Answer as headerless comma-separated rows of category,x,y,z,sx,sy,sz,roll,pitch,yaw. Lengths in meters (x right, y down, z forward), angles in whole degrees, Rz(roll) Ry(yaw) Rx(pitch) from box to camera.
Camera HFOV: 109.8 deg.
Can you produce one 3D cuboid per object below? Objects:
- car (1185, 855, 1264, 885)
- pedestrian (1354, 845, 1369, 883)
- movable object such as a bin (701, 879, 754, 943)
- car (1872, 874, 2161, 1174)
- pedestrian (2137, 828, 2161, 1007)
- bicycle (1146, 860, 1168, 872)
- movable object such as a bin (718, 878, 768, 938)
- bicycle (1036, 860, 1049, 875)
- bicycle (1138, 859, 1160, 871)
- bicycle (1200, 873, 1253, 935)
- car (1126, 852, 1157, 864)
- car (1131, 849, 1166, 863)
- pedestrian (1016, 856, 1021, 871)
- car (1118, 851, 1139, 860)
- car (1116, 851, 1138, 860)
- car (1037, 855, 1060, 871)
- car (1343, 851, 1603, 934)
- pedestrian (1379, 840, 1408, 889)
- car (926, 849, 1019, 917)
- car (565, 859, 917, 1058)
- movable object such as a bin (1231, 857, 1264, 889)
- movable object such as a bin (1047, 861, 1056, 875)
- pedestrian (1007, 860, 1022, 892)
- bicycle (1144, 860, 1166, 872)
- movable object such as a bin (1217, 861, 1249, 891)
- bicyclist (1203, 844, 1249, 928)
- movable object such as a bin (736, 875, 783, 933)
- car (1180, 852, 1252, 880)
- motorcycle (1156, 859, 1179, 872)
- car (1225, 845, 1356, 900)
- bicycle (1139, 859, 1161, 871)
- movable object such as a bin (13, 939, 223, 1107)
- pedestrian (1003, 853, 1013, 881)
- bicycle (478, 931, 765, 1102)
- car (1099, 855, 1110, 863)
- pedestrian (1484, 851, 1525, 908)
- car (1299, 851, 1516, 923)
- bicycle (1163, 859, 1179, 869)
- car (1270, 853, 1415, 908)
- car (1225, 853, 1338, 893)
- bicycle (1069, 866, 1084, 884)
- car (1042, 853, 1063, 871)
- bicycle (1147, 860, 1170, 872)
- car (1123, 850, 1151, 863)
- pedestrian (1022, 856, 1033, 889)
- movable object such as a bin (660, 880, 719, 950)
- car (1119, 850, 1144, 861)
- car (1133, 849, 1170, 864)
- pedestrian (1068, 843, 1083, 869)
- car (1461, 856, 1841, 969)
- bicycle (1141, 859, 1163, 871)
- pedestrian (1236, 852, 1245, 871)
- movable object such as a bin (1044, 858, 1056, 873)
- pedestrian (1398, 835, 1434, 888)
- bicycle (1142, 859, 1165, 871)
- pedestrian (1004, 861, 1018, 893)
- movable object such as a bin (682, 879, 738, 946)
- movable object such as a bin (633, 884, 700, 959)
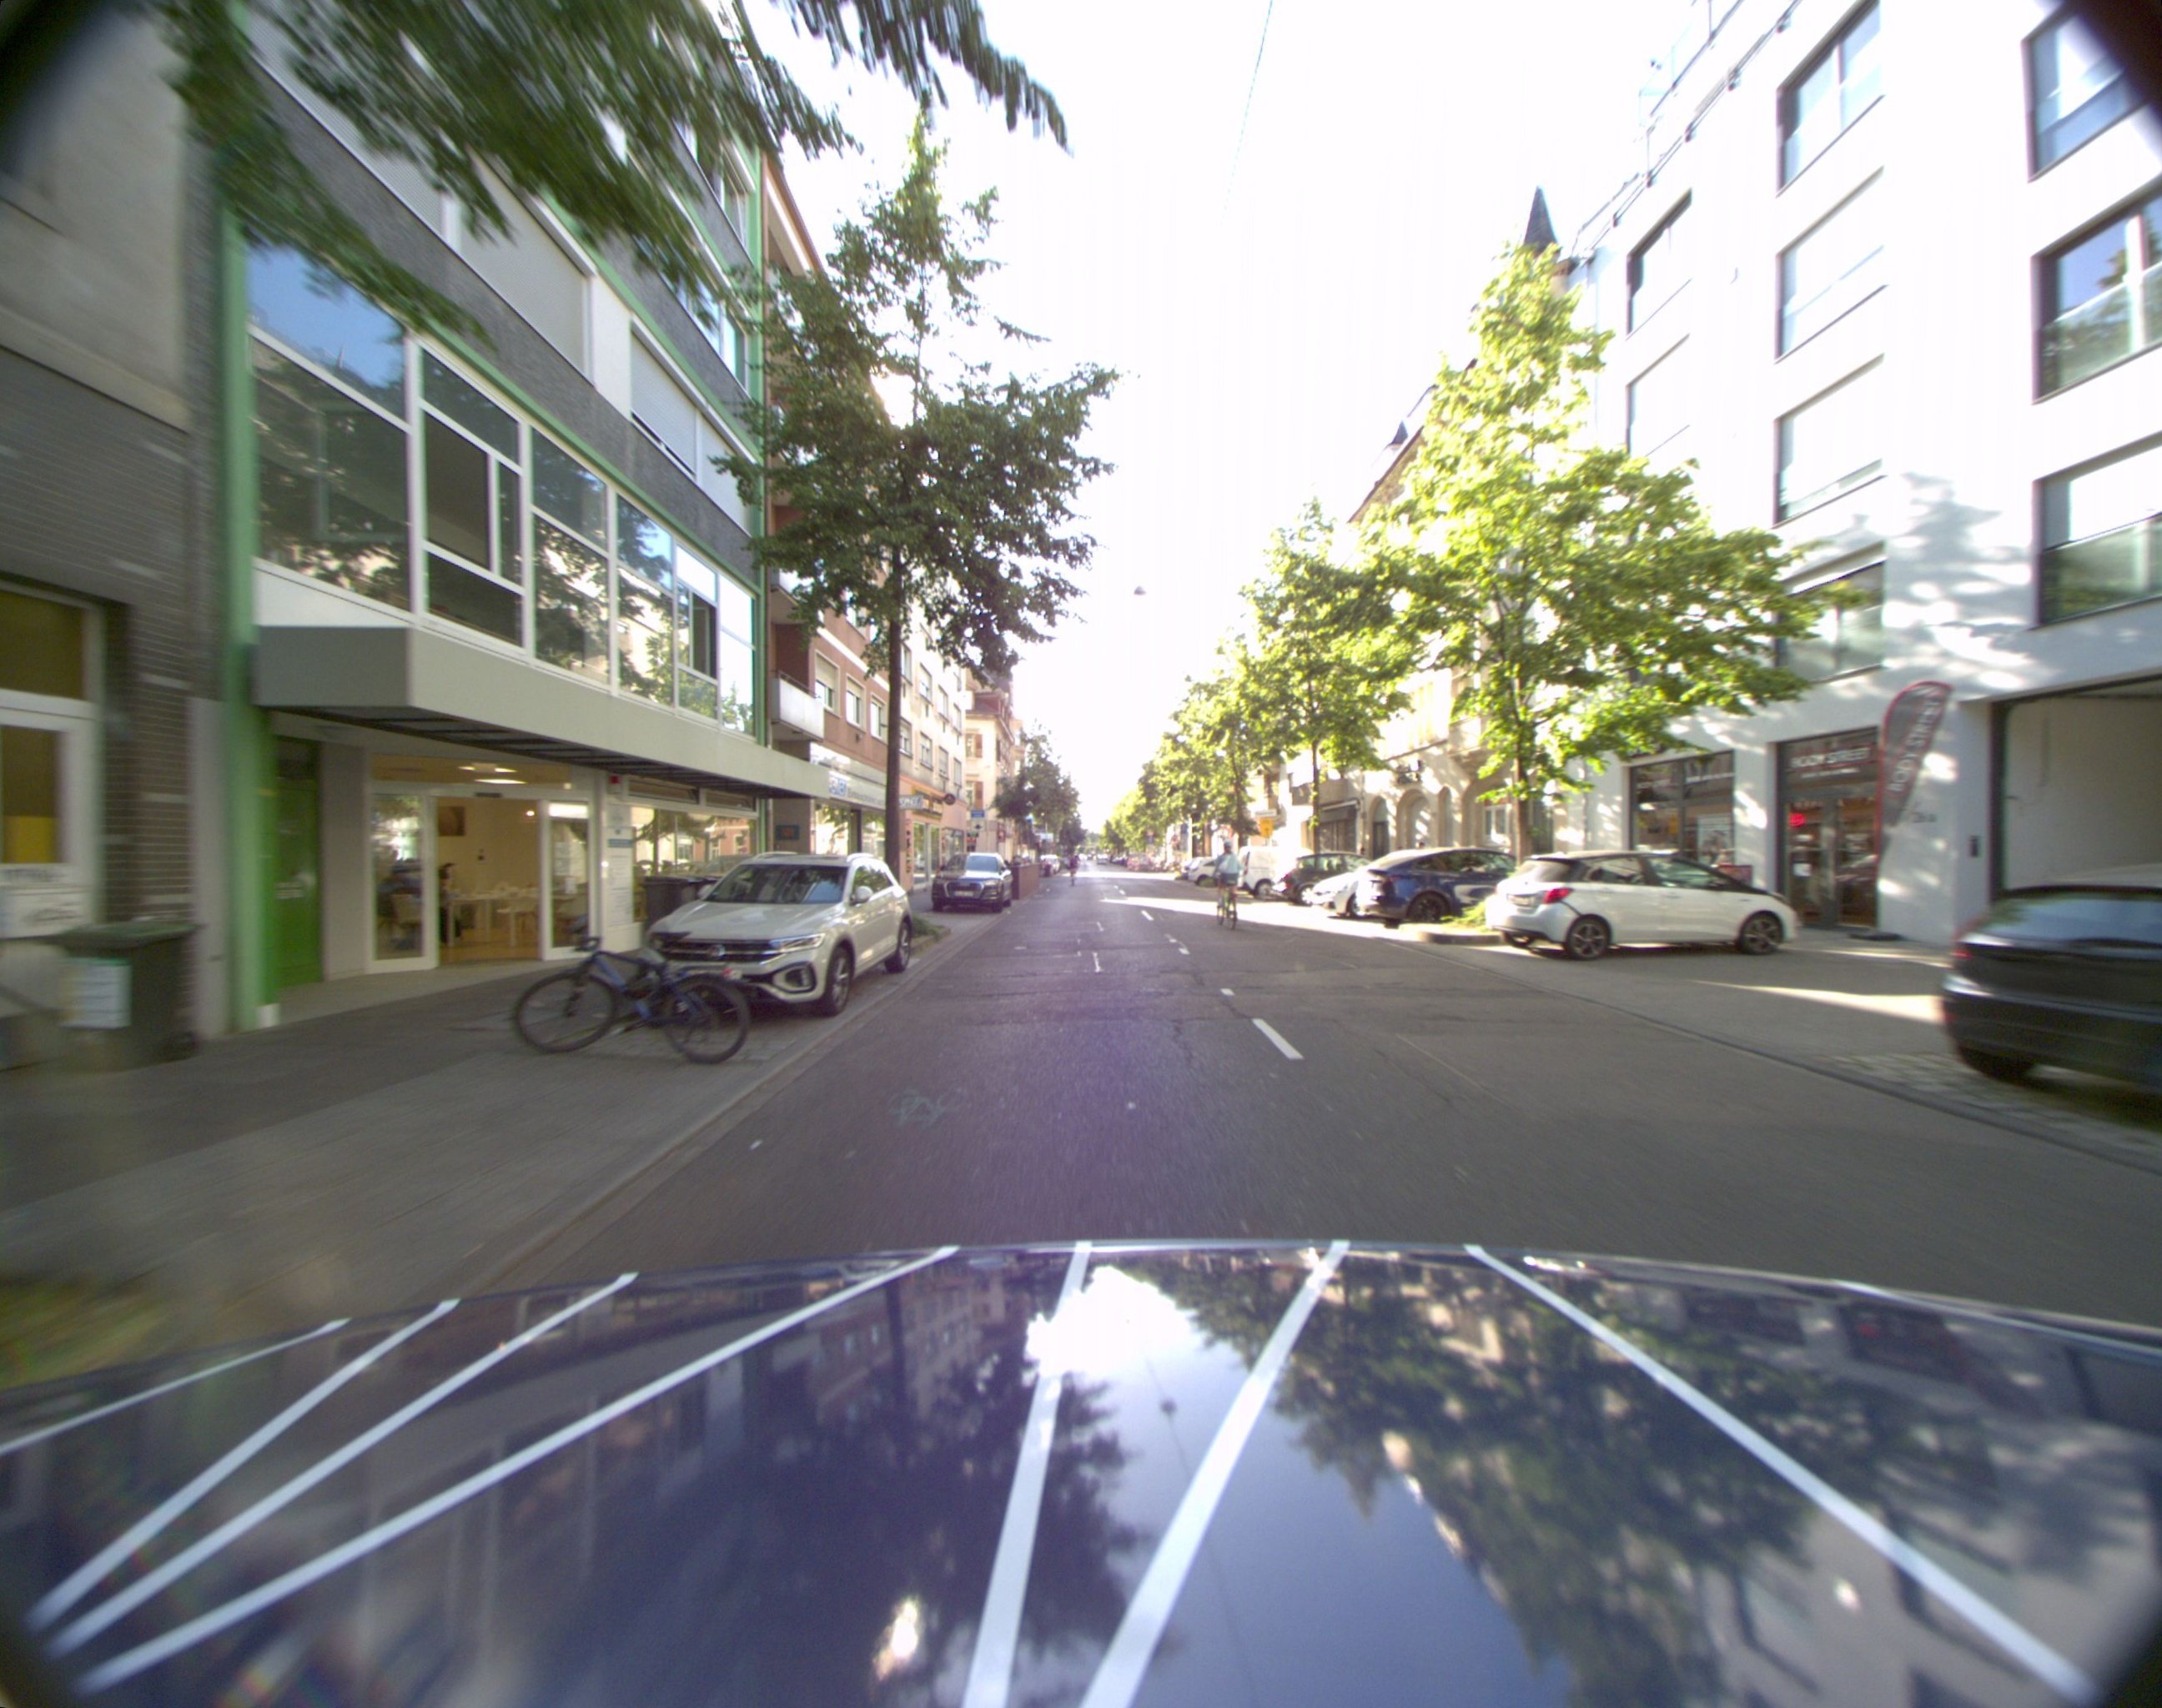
car,7.540,0.815,40.134,3.788,1.455,1.710,-1,0,-2
pedestrian,12.346,0.420,33.465,0.434,1.662,0.639,-1,1,3
movable object such as a bin,-6.097,0.969,13.121,0.615,1.058,0.589,0,1,2
car,7.336,0.866,4.393,3.790,1.450,1.780,-1,0,-3
pedestrian,11.077,0.628,7.339,0.700,1.787,0.746,-1,0,12
bicycle,7.030,1.094,70.289,2.006,1.023,0.473,-2,1,-12
movable object such as a bin,-6.093,0.963,13.726,0.615,1.058,0.589,0,1,2
bicycle,-3.007,1.073,59.512,0.379,1.139,1.670,1,1,-24
bicycle,6.484,1.027,72.659,2.006,1.023,0.473,-2,1,-12
bicycle,3.040,1.017,16.059,0.727,1.162,2.197,0,0,1
car,8.410,0.519,105.442,4.135,1.584,1.911,-1,1,-1
car,8.383,0.264,95.017,4.135,1.670,2.000,-1,1,-1
pedestrian,-6.145,0.927,75.009,0.460,1.434,0.521,-1,1,-1
car,9.901,0.231,159.183,4.135,1.792,1.911,-1,1,-1
car,9.073,0.255,148.762,4.135,1.792,1.911,-1,1,-1
car,-2.896,0.792,68.679,1.835,1.410,4.159,1,0,0
car,7.988,0.754,15.808,4.377,1.561,1.980,-1,0,1
pedestrian,10.705,0.363,26.026,0.566,1.617,0.727,-5,1,-2
car,-3.003,0.753,22.023,1.999,1.680,4.516,3,0,0
car,-3.201,0.861,8.247,1.888,1.518,4.233,2,0,0
movable object such as a bin,7.158,0.811,32.740,1.195,1.337,0.931,-1,1,0
movable object such as a bin,-2.289,1.086,59.631,0.634,1.062,0.602,1,2,2
pedestrian,-2.911,0.949,33.342,0.553,1.371,0.594,-1,1,1
bicycle,6.892,1.076,70.768,2.006,1.023,0.473,-2,1,-12
movable object such as a bin,6.752,0.957,33.771,1.240,1.295,0.870,0,1,0
bicyclist,3.036,0.647,16.015,0.727,1.690,1.282,0,0,1
movable object such as a bin,-6.060,0.934,14.347,0.612,1.058,0.589,0,1,2
car,8.108,0.737,45.972,4.008,1.456,1.748,-2,2,0
motorcycle,7.830,1.026,69.052,2.004,1.178,0.740,-2,0,0
car,7.454,0.642,27.345,4.115,1.825,2.038,-1,0,1
bicycle,6.594,1.027,72.160,2.006,1.023,0.473,-2,1,-12
movable object such as a bin,-6.238,1.068,4.958,0.524,0.951,0.655,0,0,2
pedestrian,-4.342,0.749,45.034,0.515,1.635,0.748,1,0,-1
bicycle,-3.250,1.138,5.473,1.626,1.007,0.611,4,0,-1
car,4.371,0.866,142.121,1.835,1.410,3.833,0,0,0
pedestrian,11.331,0.668,20.351,0.594,1.485,0.842,-3,0,2
car,7.705,0.754,18.261,4.377,1.561,1.946,-1,0,1
bicycle,8.415,0.941,70.991,1.513,0.945,0.360,-2,1,41
car,7.853,0.766,23.067,3.809,1.549,1.792,-1,0,1
car,7.865,0.728,30.117,3.989,1.455,1.887,-1,0,1
bicycle,-0.268,1.162,42.251,0.805,0.958,1.996,-2,0,-1
car,-2.729,0.770,73.402,1.835,1.641,4.159,1,0,1
bicycle,7.127,1.066,69.760,2.006,1.023,0.473,-2,1,-12
car,8.751,0.383,118.564,4.135,1.792,1.911,-1,1,-1
pedestrian,-2.553,0.871,36.169,0.474,1.520,0.462,-1,1,1
movable object such as a bin,-6.124,0.941,11.912,0.615,1.058,0.589,0,1,2
car,8.469,0.306,128.285,4.135,1.792,1.911,-1,1,-1
car,8.265,0.313,89.391,4.135,1.670,2.000,-1,1,-1
pedestrian,-0.301,0.110,42.205,0.804,1.381,0.931,-2,0,-1
car,8.298,0.792,11.343,4.257,1.450,1.979,-1,0,-3
bicycle,6.703,1.045,71.689,2.006,1.023,0.473,-2,1,-12
pedestrian,14.393,0.649,68.484,0.630,1.716,0.580,0,0,-3
movable object such as a bin,-2.504,0.936,61.163,0.944,1.207,0.699,1,1,1
pedestrian,11.492,0.251,26.072,0.776,1.756,0.763,-5,1,-2
bicycle,6.799,1.051,71.266,2.006,1.023,0.473,-2,1,-12
pedestrian,-2.984,0.979,32.313,0.474,1.354,0.594,-1,1,1
movable object such as a bin,-6.107,0.943,12.519,0.615,1.058,0.589,0,1,2
movable object such as a bin,-6.130,0.981,11.267,0.615,1.058,0.655,0,1,2
